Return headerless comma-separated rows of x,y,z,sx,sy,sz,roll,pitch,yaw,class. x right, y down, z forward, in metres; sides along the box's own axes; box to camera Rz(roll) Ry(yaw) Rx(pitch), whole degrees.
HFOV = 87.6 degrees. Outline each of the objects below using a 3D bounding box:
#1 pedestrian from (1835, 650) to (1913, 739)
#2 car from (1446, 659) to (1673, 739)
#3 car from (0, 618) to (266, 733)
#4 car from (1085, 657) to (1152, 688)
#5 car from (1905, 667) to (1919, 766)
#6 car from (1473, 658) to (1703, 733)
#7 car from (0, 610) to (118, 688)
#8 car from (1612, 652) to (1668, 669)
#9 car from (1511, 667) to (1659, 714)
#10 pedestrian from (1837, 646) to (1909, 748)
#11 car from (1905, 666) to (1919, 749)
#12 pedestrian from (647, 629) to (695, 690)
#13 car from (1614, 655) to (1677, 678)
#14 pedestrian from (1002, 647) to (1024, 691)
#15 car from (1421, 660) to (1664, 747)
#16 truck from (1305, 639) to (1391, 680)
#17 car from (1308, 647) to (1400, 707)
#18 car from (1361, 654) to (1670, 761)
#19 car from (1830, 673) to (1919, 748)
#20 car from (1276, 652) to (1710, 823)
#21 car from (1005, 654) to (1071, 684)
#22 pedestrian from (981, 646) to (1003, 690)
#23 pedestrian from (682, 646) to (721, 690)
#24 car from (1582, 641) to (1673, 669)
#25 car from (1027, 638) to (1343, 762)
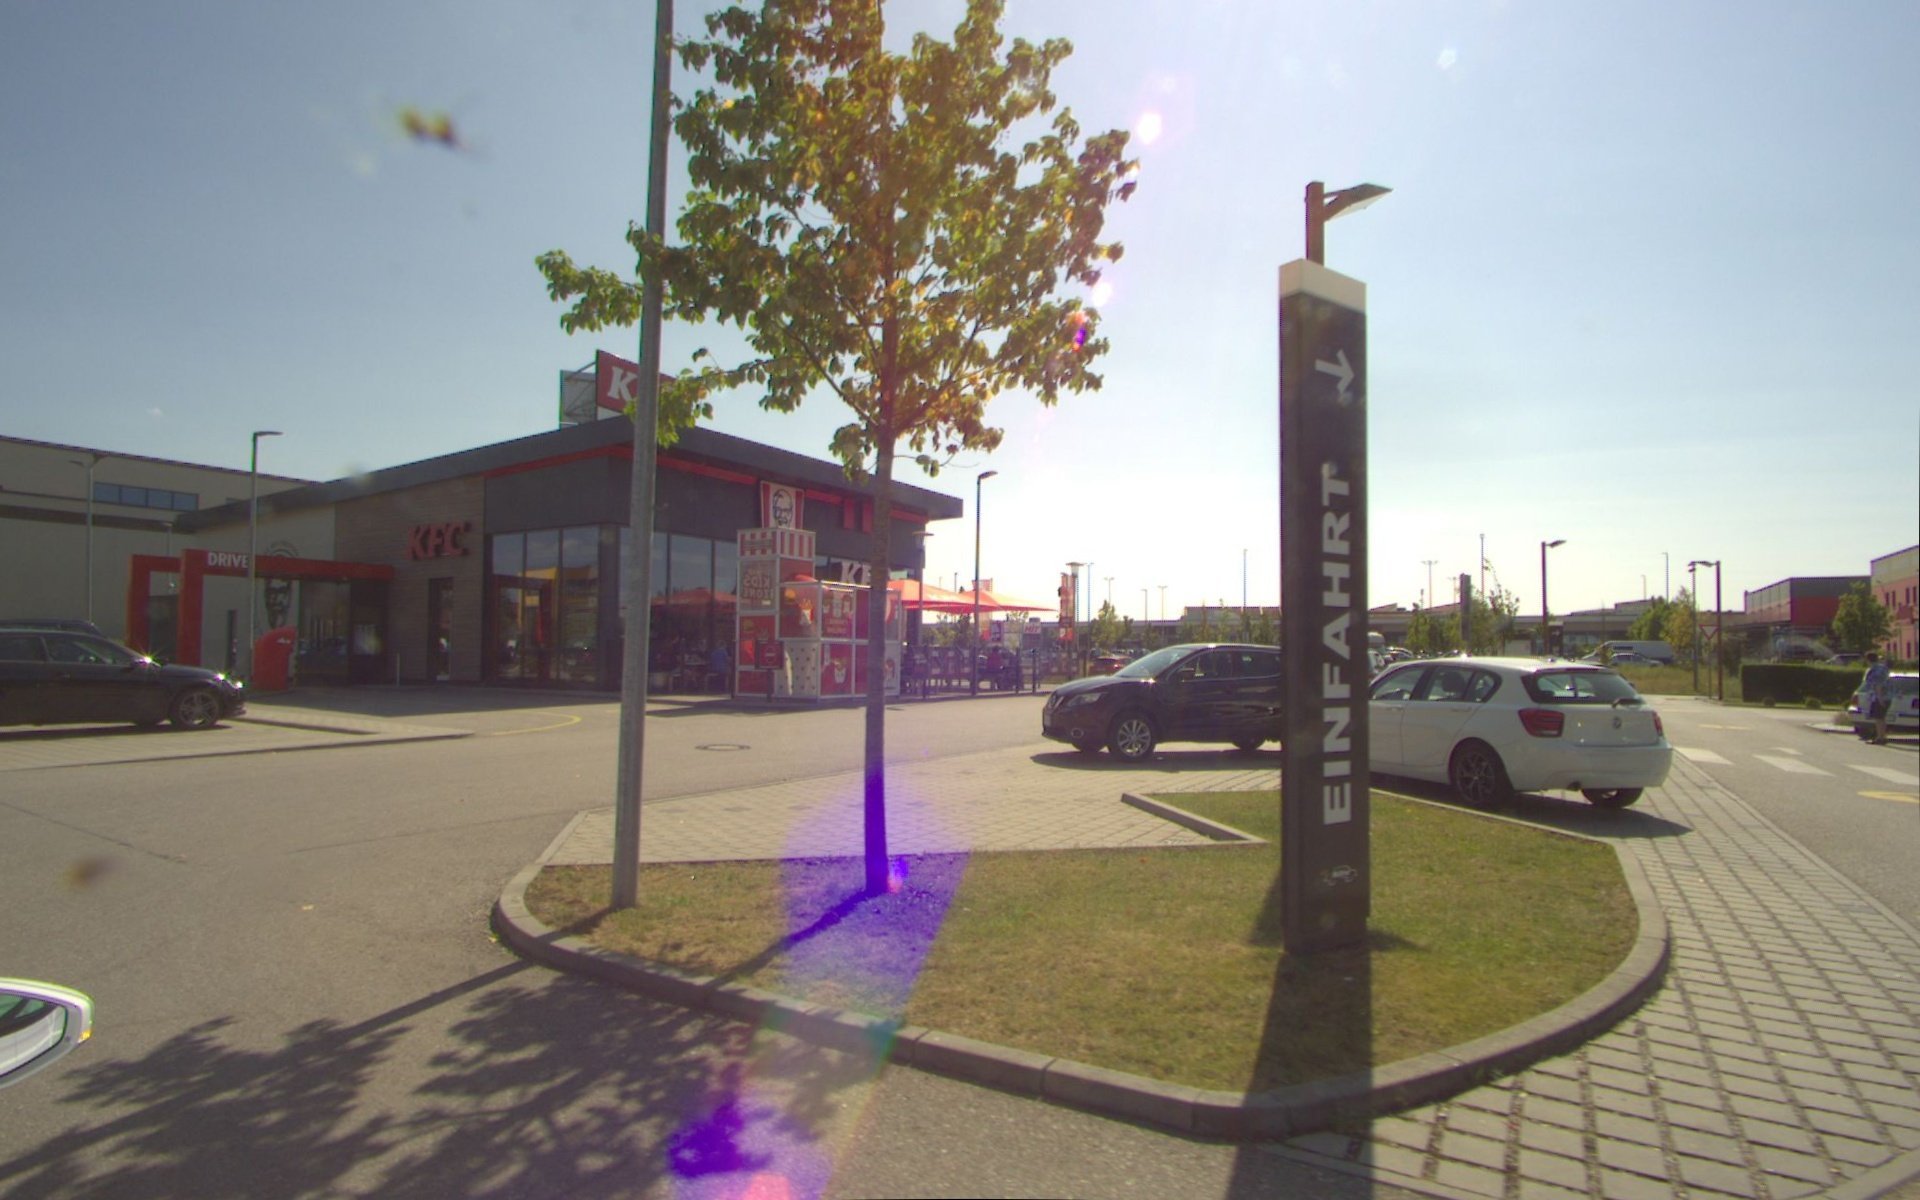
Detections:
20.507,2.094,22.490,0.900,1.940,0.903,1,-2,-3,pedestrian
12.872,2.072,21.780,1.791,1.507,3.990,2,-3,-22,car
-12.442,1.019,13.965,1.673,1.459,4.198,0,-3,30,car
7.933,3.588,49.812,1.667,1.472,3.730,-1,-3,39,car
17.305,1.858,15.377,4.336,1.530,1.983,2,-3,-13,car
14.669,2.191,23.672,1.752,1.530,4.336,2,-3,-26,car
-21.645,1.069,22.089,1.615,1.706,4.372,0,-3,26,car
57.297,5.115,84.437,3.851,1.359,1.658,-1,-3,31,car
21.287,3.061,34.303,1.767,1.440,4.078,2,-3,-20,car
18.033,1.888,19.794,1.018,1.940,0.895,-1,-3,44,pedestrian
20.225,2.046,18.471,4.336,1.530,1.983,2,-3,-13,car
-7.059,1.447,24.502,0.760,1.453,0.797,0,-2,29,pedestrian
54.606,5.281,79.846,3.937,1.749,1.888,0,-3,28,car
1.611,2.084,30.349,0.584,1.285,0.686,1,-2,6,pedestrian
10.926,1.897,19.154,1.787,1.420,3.998,2,-3,-13,car
33.910,5.170,87.786,2.385,3.394,7.540,2,-2,-25,truck
12.961,2.479,32.773,2.043,1.771,4.348,0,-3,32,car
9.002,1.690,16.740,1.881,1.489,4.466,2,-3,-17,car
20.773,2.316,21.088,3.831,1.444,1.706,2,-3,-11,car
5.406,1.322,10.880,1.811,1.443,4.182,2,-3,-15,car
4.135,3.626,52.699,1.667,1.472,3.730,-1,-3,39,car
0.982,2.054,30.395,0.584,1.285,0.686,1,-2,6,pedestrian
-6.500,1.703,25.193,0.619,1.085,0.715,0,-2,29,pedestrian
58.008,4.785,87.234,6.476,2.272,2.291,-1,-3,31,car
3.140,1.388,14.219,4.012,1.596,1.756,2,-3,-13,car
